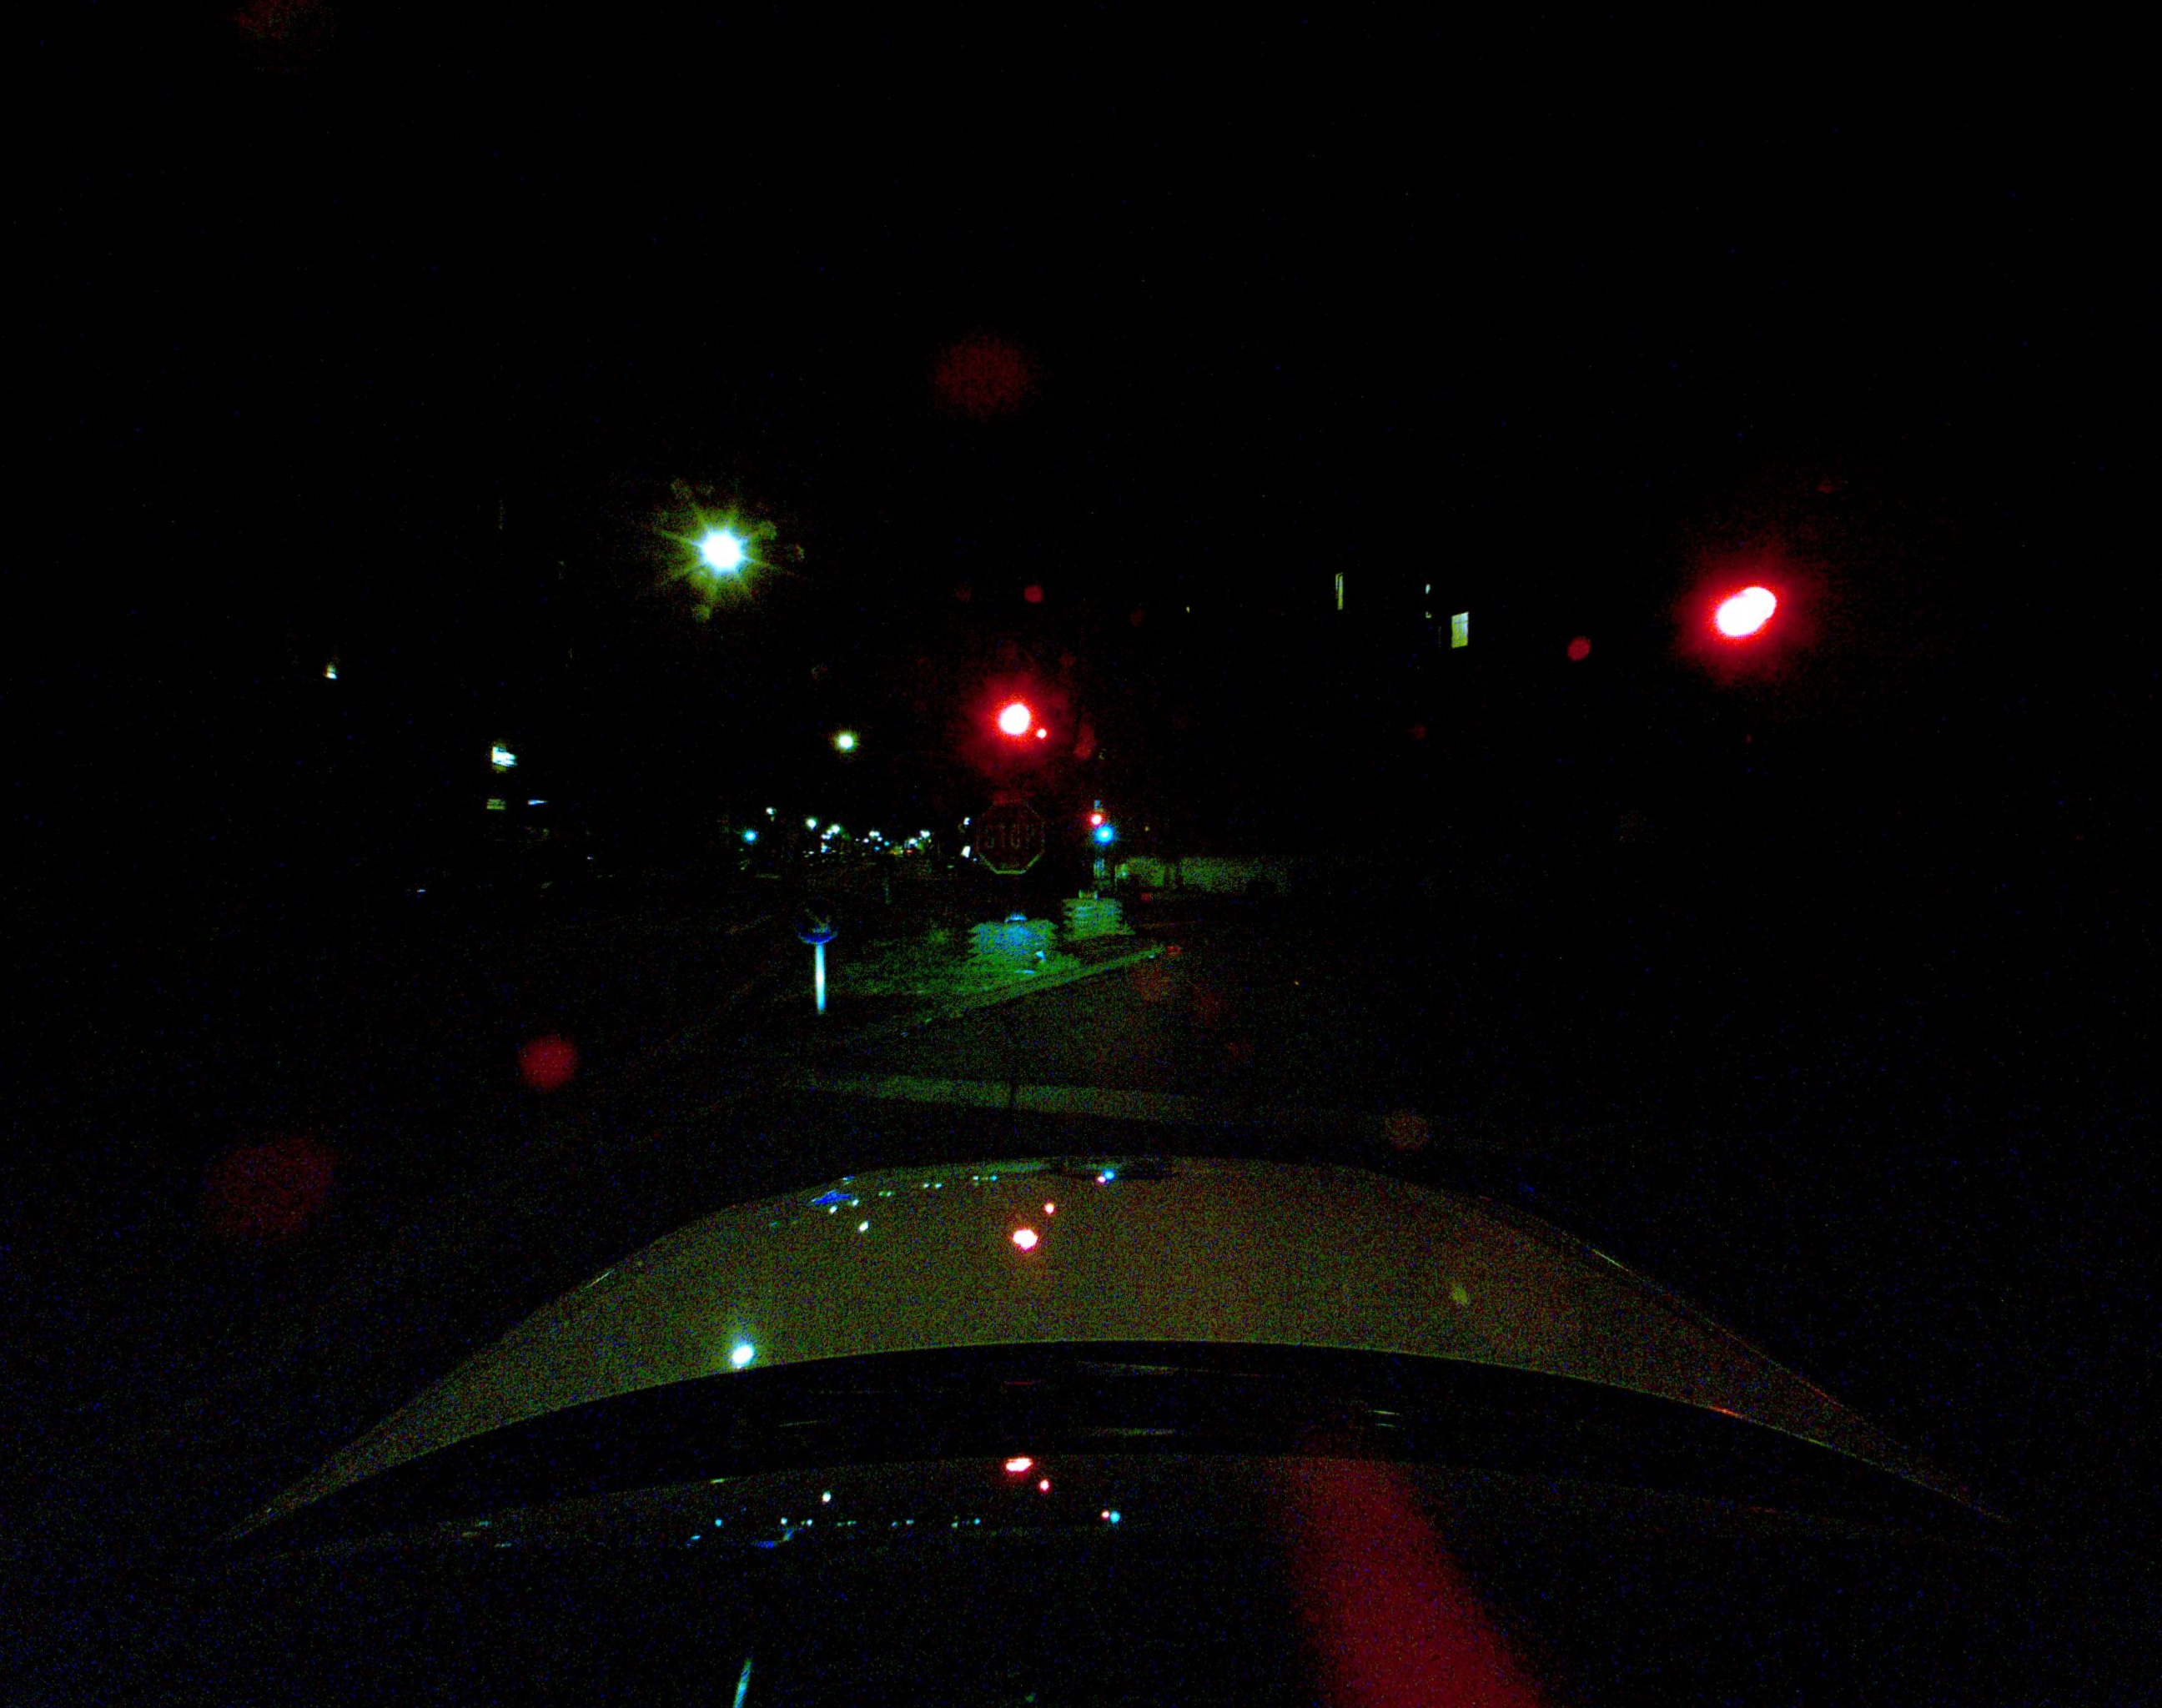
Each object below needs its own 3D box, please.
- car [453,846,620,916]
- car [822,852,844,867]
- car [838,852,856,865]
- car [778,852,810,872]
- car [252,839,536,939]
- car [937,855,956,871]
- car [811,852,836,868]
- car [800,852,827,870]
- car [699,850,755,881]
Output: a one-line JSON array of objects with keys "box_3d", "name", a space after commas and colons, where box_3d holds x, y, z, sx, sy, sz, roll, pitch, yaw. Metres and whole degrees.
[{"box_3d": [-12.888, 0.602, 19.637, 1.805, 1.481, 4.305, 1, -1, -12], "name": "car"}, {"box_3d": [-24.923, 0.538, 81.832, 1.652, 1.431, 3.985, 0, 0, -11], "name": "car"}, {"box_3d": [-27.404, 0.510, 95.270, 1.652, 1.431, 3.985, 0, 0, -11], "name": "car"}, {"box_3d": [-21.555, 0.562, 61.225, 1.652, 1.431, 3.985, 0, 0, -11], "name": "car"}, {"box_3d": [-12.015, 0.558, 14.737, 1.900, 1.472, 4.435, 3, -1, -11], "name": "car"}, {"box_3d": [-12.176, 0.791, 73.941, 1.651, 1.431, 3.987, 0, 0, -10], "name": "car"}, {"box_3d": [-23.712, 0.551, 75.078, 1.652, 1.431, 3.985, 0, 0, -11], "name": "car"}, {"box_3d": [-22.639, 0.583, 69.047, 1.652, 1.431, 3.985, 0, 0, -11], "name": "car"}, {"box_3d": [-17.268, 0.563, 39.849, 1.652, 1.431, 3.985, 0, 0, -11], "name": "car"}]
